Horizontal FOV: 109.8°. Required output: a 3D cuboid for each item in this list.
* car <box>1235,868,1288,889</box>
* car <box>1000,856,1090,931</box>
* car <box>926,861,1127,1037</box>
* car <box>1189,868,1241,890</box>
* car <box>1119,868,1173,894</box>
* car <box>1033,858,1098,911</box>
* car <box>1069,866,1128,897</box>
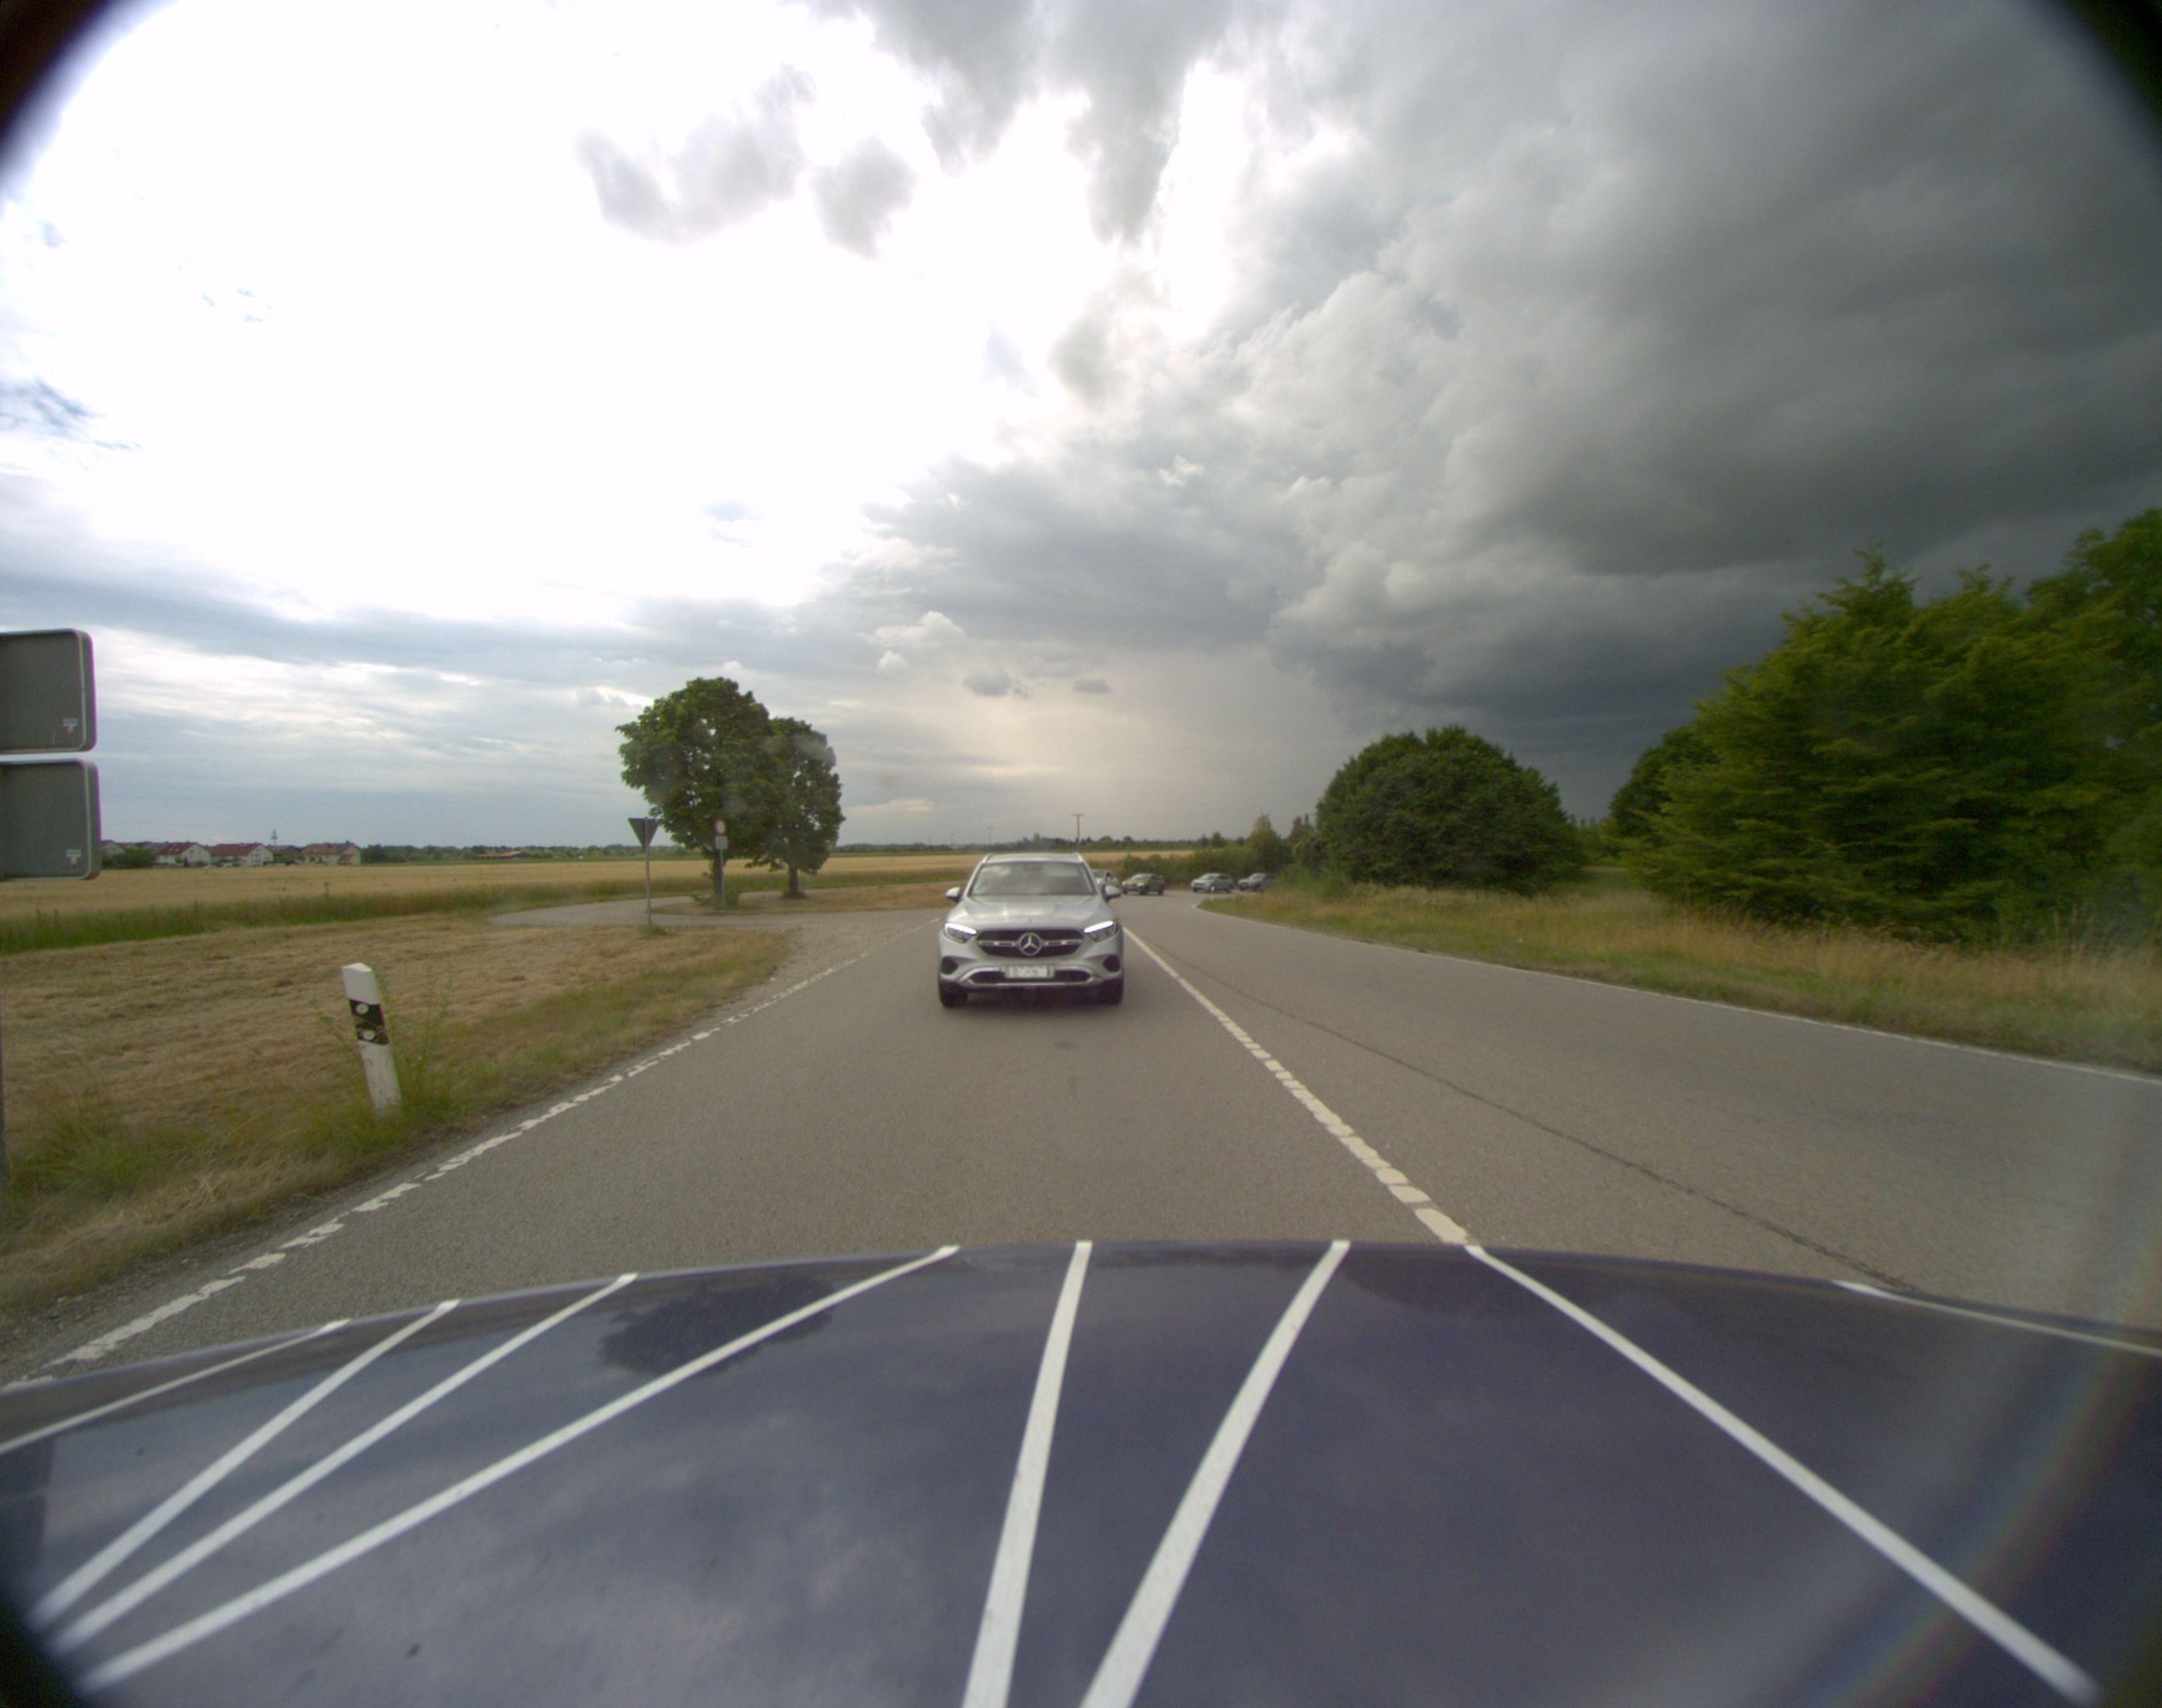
[{"bbox_3d":[16.822,2.256,70.665,5.219,1.710,1.994,0,2,-38],"label":"car"},{"bbox_3d":[-0.801,0.935,20.000,1.998,1.709,5.209,0,-1,1],"label":"car"},{"bbox_3d":[-0.550,0.897,9.228,1.837,1.577,4.449,0,0,-1],"label":"car"},{"bbox_3d":[11.518,2.131,64.978,1.994,1.709,5.221,2,0,40],"label":"car"},{"bbox_3d":[4.769,1.919,55.275,1.994,1.709,5.219,2,0,27],"label":"car"},{"bbox_3d":[-0.478,1.116,28.344,1.998,1.709,5.211,3,-2,3],"label":"car"},{"bbox_3d":[1.176,1.671,46.683,1.995,1.709,5.217,2,0,20],"label":"car"}]
